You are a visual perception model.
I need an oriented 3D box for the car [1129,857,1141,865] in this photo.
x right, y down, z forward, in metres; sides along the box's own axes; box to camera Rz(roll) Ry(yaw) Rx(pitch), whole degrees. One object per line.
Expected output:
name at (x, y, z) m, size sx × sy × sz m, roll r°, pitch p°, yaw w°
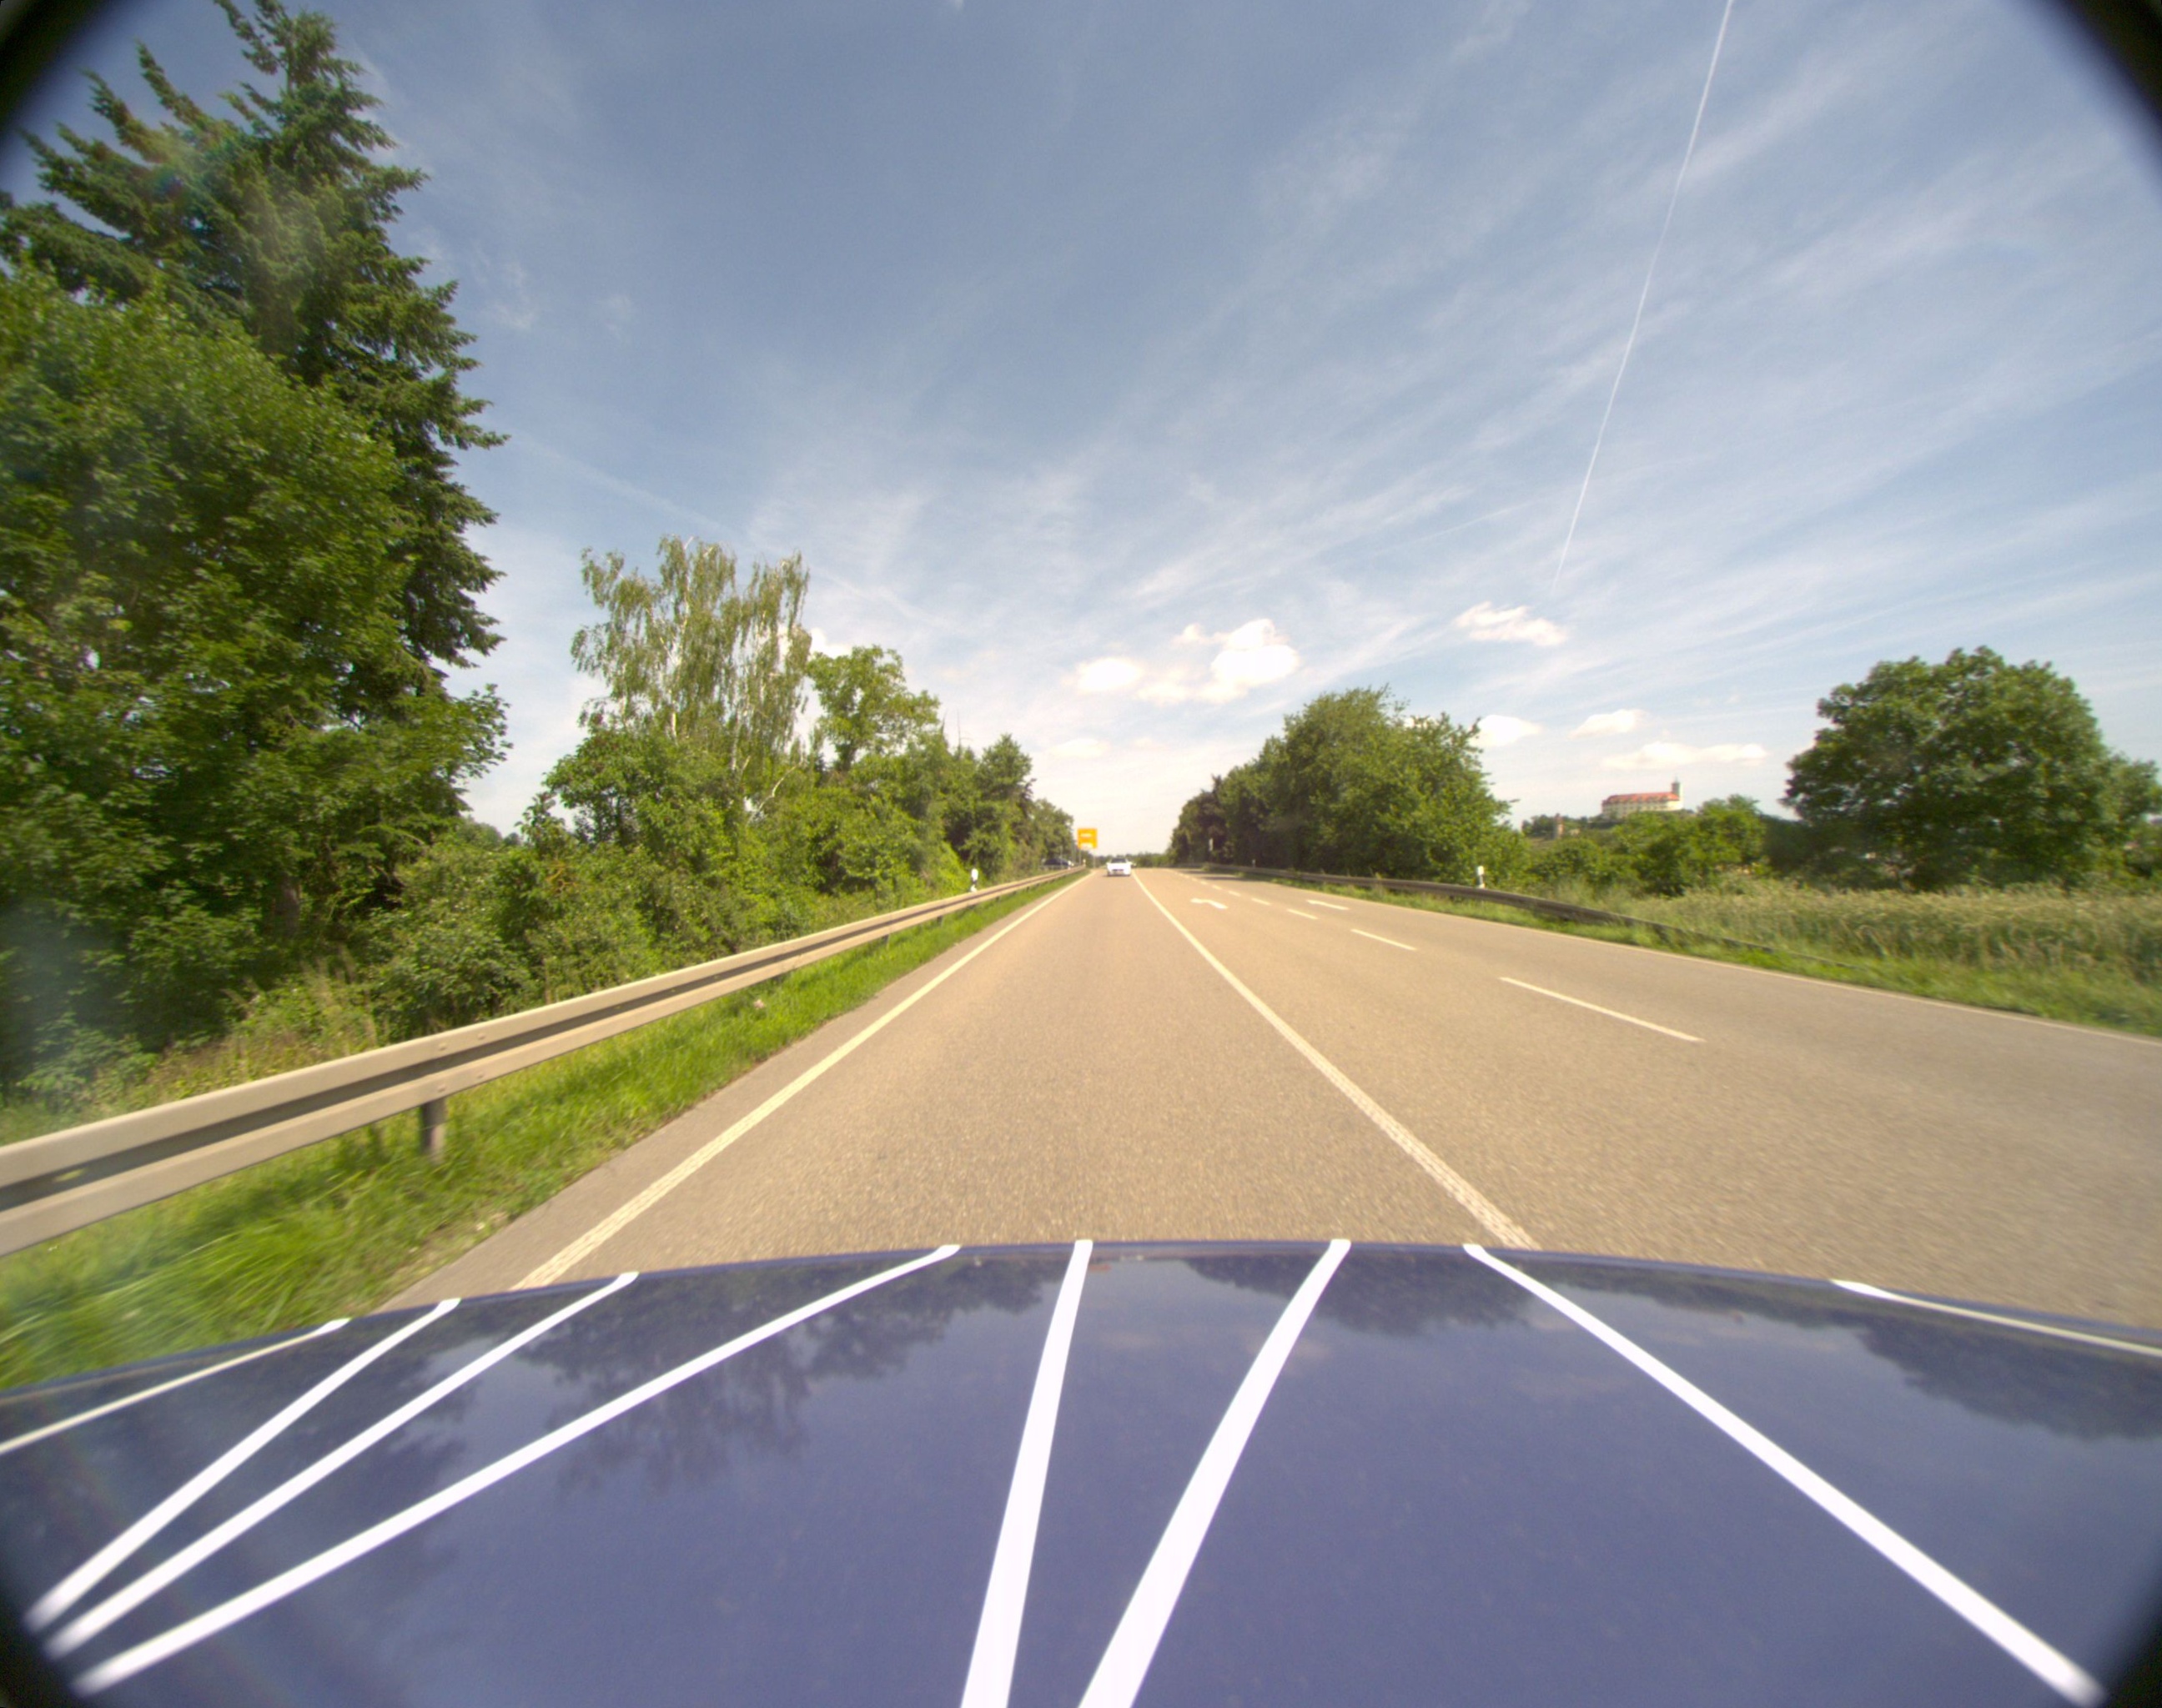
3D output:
car at (9.891, 1.312, 138.913) m, size 1.929 × 1.441 × 4.001 m, roll 0°, pitch -1°, yaw 2°

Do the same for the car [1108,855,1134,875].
car at (3.132, 0.837, 60.687) m, size 1.929 × 1.441 × 4.535 m, roll -1°, pitch 0°, yaw 2°

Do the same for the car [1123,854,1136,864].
car at (7.252, 0.810, 114.736) m, size 1.929 × 1.441 × 4.078 m, roll 0°, pitch -1°, yaw 3°
